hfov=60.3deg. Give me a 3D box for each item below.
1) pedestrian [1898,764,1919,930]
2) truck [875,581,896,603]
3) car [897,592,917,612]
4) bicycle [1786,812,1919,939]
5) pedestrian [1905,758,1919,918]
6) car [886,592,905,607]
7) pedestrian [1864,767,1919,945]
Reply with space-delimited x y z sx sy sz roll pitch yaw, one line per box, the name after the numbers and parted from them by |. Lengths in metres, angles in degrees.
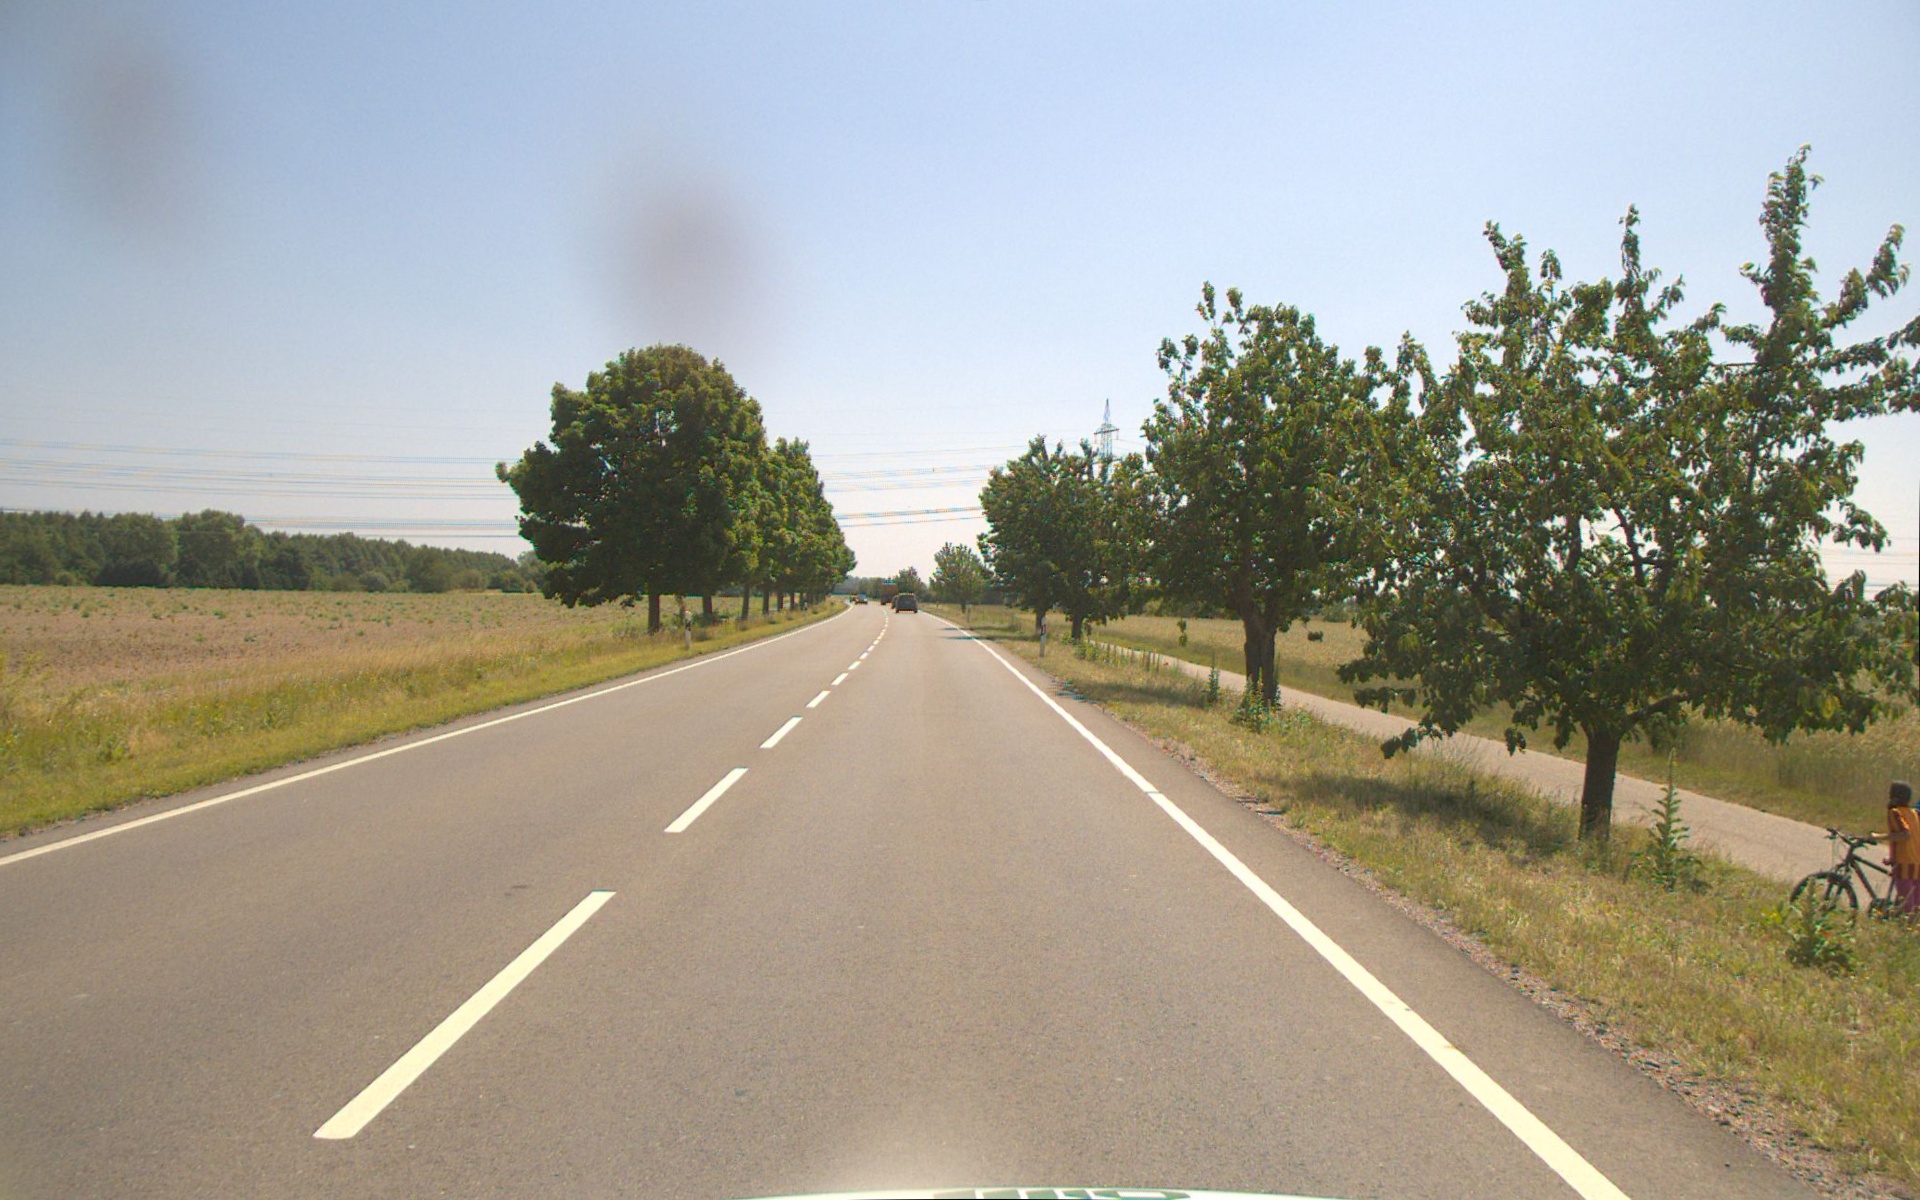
8.106 2.062 13.779 0.477 1.318 0.441 1 0 32 | pedestrian
-11.133 -1.179 246.089 2.326 3.195 8.734 2 0 -7 | truck
-4.641 0.195 144.446 1.680 1.723 3.987 1 0 -2 | car
7.392 2.238 13.499 1.097 0.875 0.440 1 0 36 | bicycle
8.450 2.056 14.212 0.478 1.337 0.439 1 0 41 | pedestrian
-7.176 -0.053 183.995 1.815 1.549 3.995 1 0 -6 | car
7.461 2.014 13.093 0.477 1.318 0.440 1 0 35 | pedestrian
